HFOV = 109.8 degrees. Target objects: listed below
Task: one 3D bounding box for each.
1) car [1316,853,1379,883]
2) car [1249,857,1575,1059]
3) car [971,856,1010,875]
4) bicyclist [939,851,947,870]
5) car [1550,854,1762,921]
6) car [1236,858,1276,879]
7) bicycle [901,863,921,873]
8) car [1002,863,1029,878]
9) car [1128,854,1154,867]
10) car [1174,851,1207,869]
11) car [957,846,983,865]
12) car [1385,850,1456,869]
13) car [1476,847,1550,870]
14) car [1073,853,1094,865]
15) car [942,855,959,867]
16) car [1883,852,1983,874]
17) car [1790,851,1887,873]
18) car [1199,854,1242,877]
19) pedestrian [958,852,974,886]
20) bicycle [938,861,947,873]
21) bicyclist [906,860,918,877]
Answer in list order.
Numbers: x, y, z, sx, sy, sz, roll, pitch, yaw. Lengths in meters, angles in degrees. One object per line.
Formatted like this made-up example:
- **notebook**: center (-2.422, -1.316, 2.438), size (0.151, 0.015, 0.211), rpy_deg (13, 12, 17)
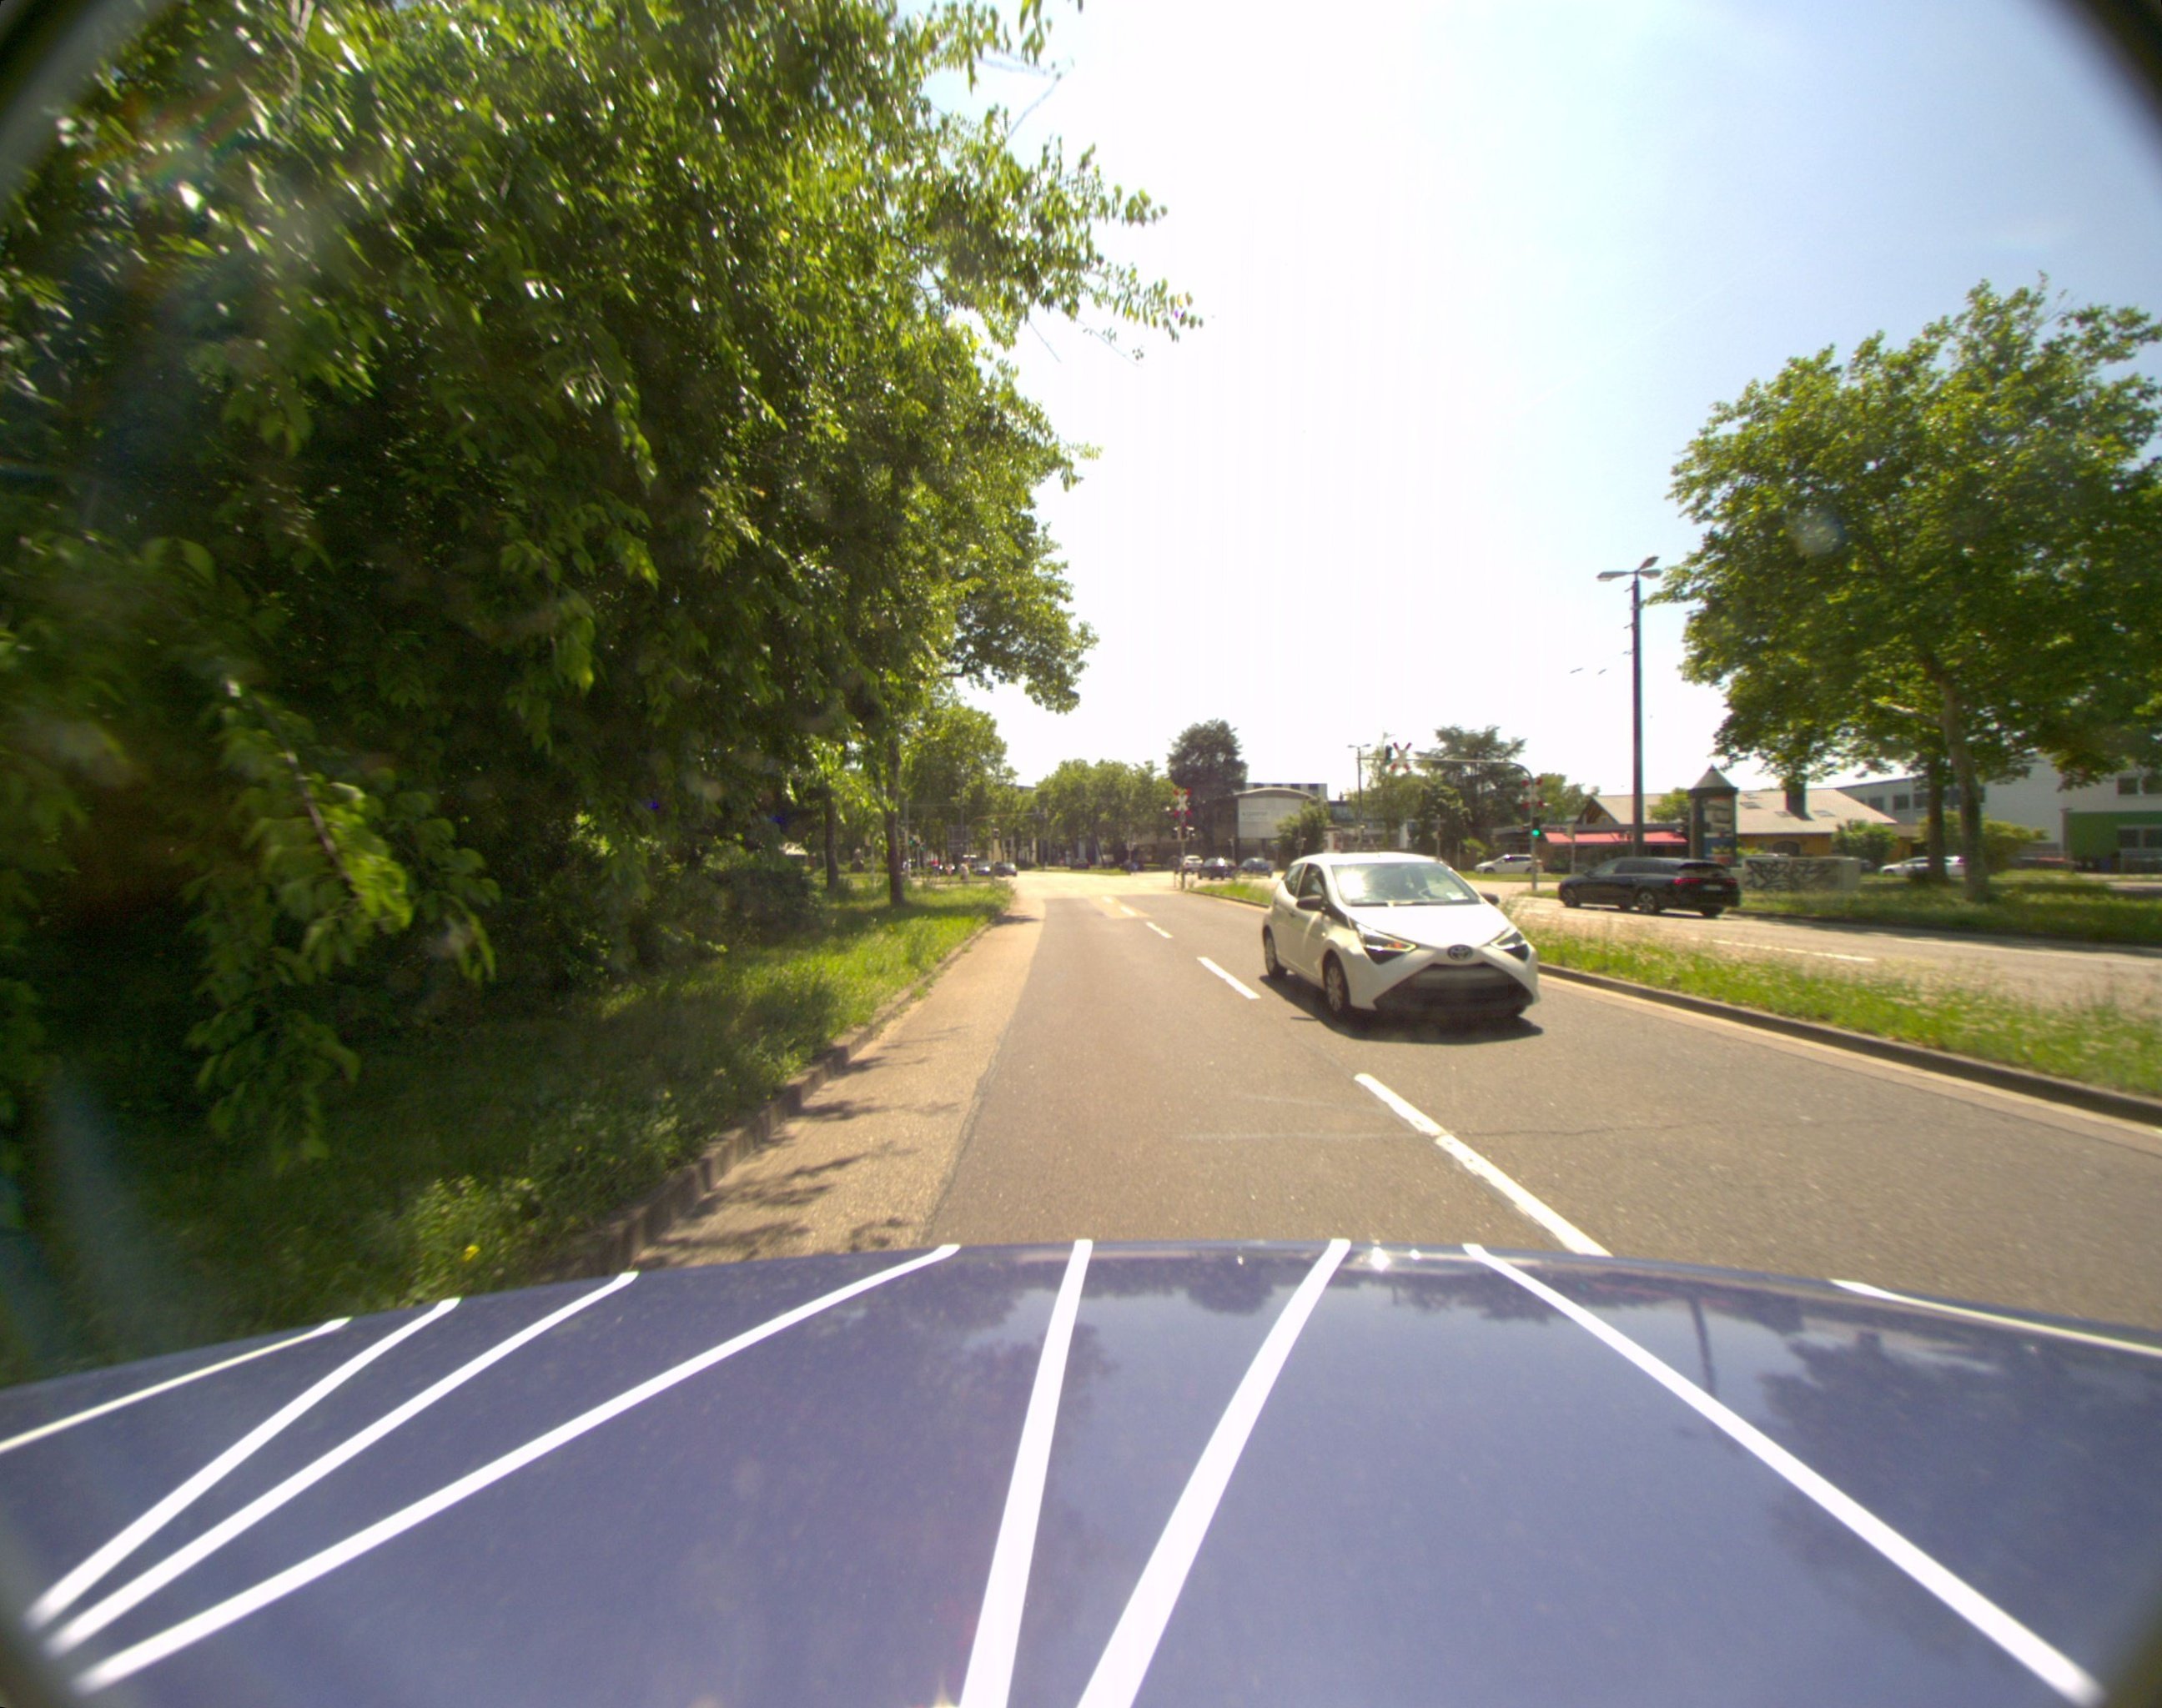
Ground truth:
- **car**: center (13.899, 0.705, 39.849), size (1.725, 1.447, 3.867), rpy_deg (-1, 0, -4)
- **car**: center (2.923, 0.801, 7.608), size (1.623, 1.437, 3.651), rpy_deg (-2, 0, 0)
- **car**: center (-7.576, 0.940, 64.108), size (1.651, 1.453, 3.870), rpy_deg (-1, 0, 20)
- **bicyclist**: center (-11.603, 0.548, 63.730), size (0.579, 1.547, 0.673), rpy_deg (-1, 1, -6)
- **car**: center (14.600, 0.772, 19.695), size (1.817, 1.498, 4.592), rpy_deg (1, 0, -4)
- **car**: center (12.181, 0.980, 53.048), size (1.810, 1.354, 3.551), rpy_deg (0, 0, -3)
- **bicycle**: center (-13.187, 1.088, 59.004), size (0.464, 0.759, 1.672), rpy_deg (0, 0, 31)
- **car**: center (-6.160, 1.537, 71.879), size (1.790, 1.325, 3.744), rpy_deg (0, 0, 6)
- **car**: center (6.803, 0.676, 86.824), size (1.956, 1.431, 4.742), rpy_deg (-1, 0, -9)
- **car**: center (9.837, 0.545, 68.416), size (1.793, 1.605, 4.401), rpy_deg (-1, 0, -8)
- **car**: center (-16.271, 0.231, 111.232), size (2.922, 2.639, 6.357), rpy_deg (-1, 0, -16)
- **car**: center (25.490, 0.393, 57.255), size (4.661, 1.372, 1.890), rpy_deg (-1, 0, 17)
- **car**: center (31.078, 0.314, 54.849), size (4.450, 1.595, 2.220), rpy_deg (-1, 0, 24)
- **car**: center (0.314, 0.637, 98.519), size (1.915, 1.530, 4.294), rpy_deg (-1, 0, -10)
- **car**: center (-22.076, 1.109, 128.311), size (2.002, 2.002, 3.993), rpy_deg (-1, 0, -20)
- **car**: center (56.324, 0.571, 50.336), size (1.947, 1.415, 4.058), rpy_deg (-1, 0, -7)
- **car**: center (51.338, 0.544, 51.638), size (1.879, 1.403, 4.384), rpy_deg (-1, 0, -10)
- **car**: center (9.051, 0.713, 49.709), size (1.741, 1.387, 4.176), rpy_deg (1, 0, -4)
- **pedestrian**: center (-5.051, 0.665, 33.449), size (0.554, 1.475, 0.630), rpy_deg (-1, 0, 2)
- **bicycle**: center (-11.600, 1.077, 63.766), size (0.589, 0.890, 1.810), rpy_deg (-1, 0, -6)
- **bicyclist**: center (-13.160, 1.106, 59.035), size (0.599, 1.331, 0.667), rpy_deg (0, 1, 29)
